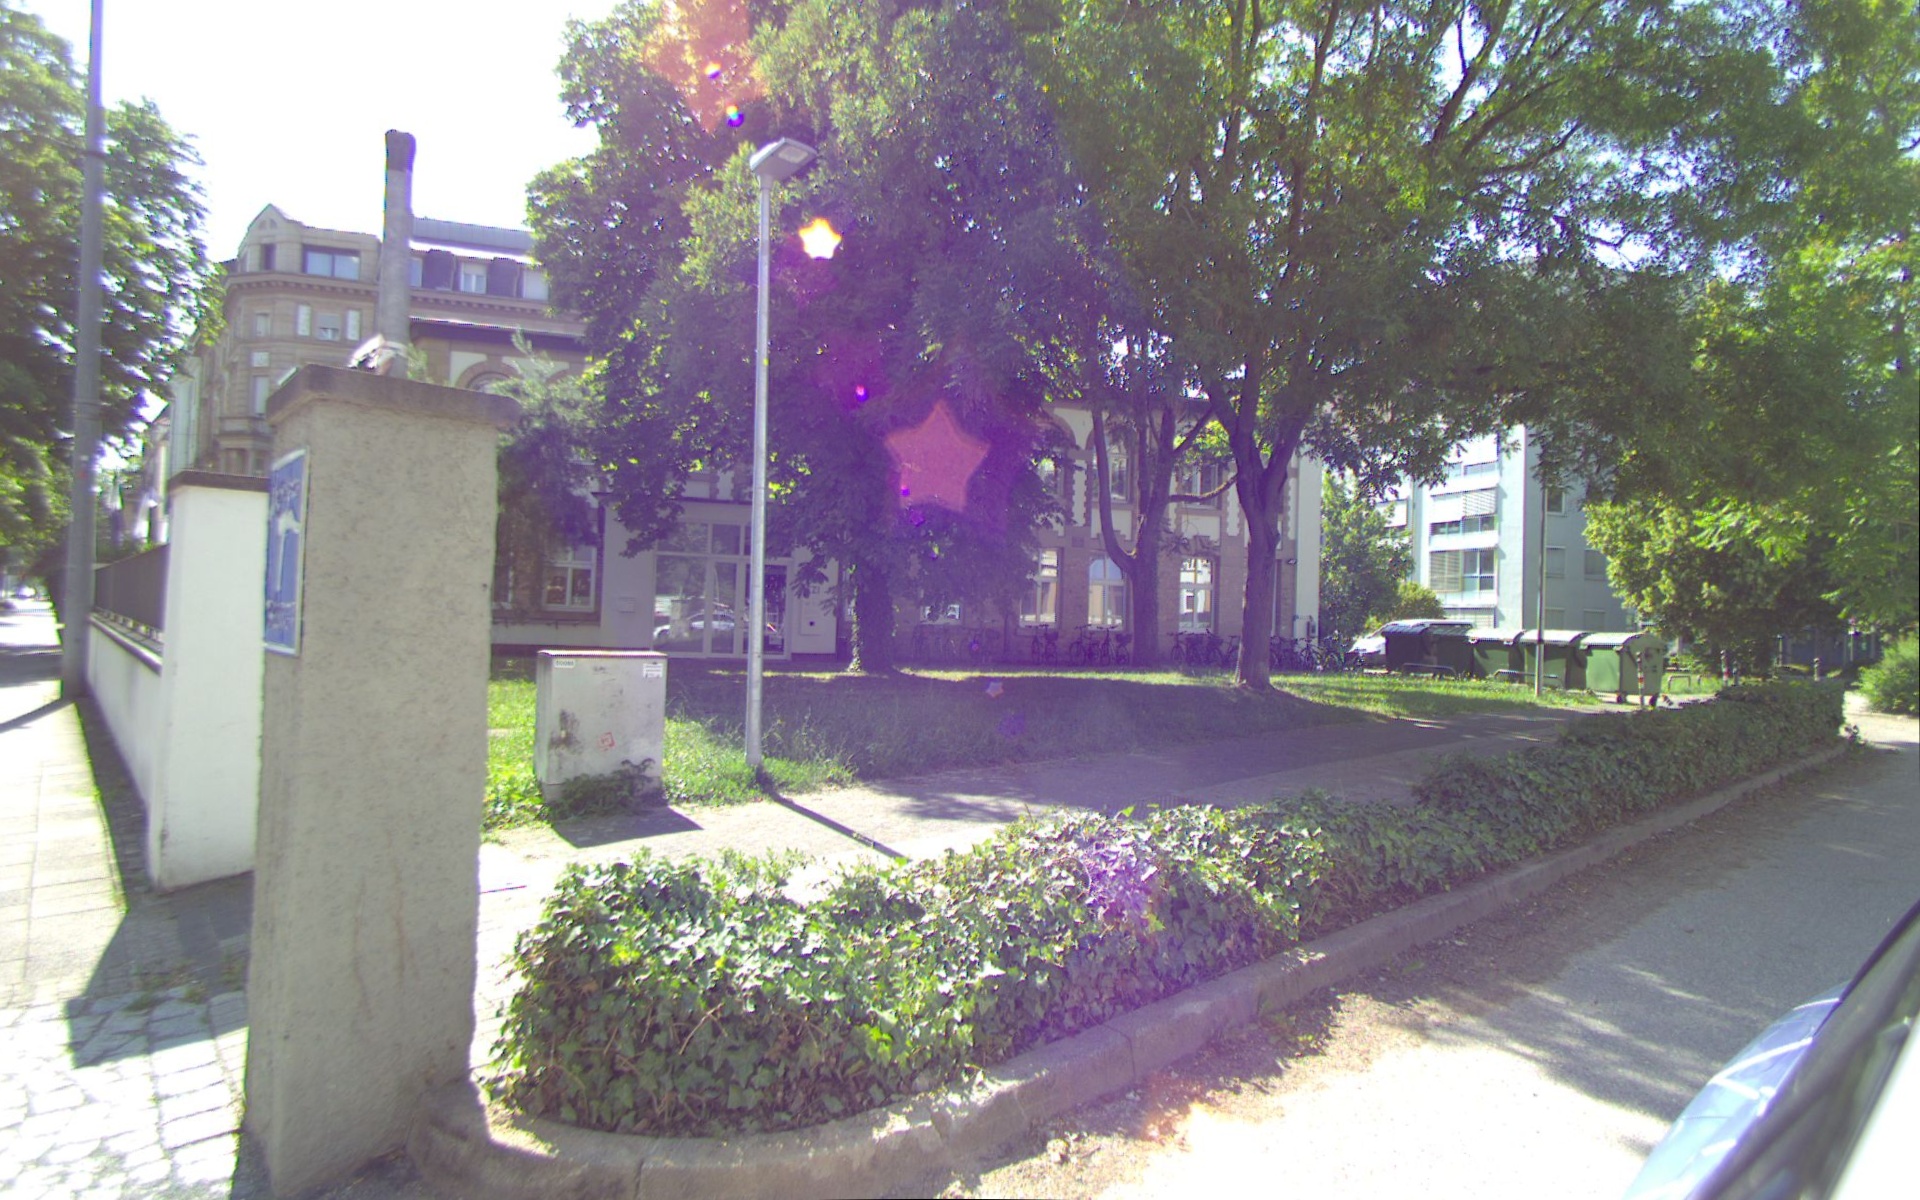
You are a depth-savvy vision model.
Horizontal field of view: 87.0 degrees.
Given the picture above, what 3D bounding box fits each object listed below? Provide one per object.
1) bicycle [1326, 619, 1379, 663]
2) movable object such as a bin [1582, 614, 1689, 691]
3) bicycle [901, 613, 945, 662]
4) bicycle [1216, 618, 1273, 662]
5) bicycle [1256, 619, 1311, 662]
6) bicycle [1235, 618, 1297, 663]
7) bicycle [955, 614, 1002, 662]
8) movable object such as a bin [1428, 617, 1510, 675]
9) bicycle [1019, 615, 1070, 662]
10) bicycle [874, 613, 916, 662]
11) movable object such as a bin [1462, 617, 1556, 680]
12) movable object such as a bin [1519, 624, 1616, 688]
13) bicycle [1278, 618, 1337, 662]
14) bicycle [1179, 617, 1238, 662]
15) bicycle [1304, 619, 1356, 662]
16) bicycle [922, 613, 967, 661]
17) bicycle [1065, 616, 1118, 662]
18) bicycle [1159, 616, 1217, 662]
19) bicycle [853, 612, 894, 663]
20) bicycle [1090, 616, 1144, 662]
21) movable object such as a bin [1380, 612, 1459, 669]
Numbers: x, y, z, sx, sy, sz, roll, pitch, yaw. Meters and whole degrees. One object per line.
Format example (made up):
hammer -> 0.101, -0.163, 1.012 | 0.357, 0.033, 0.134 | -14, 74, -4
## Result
bicycle -> 11.213, 1.145, 28.947 | 0.546, 1.176, 1.947 | 1, -1, -7
movable object such as a bin -> 13.776, 1.053, 20.694 | 1.191, 1.481, 1.393 | 1, -1, -5
bicycle -> -0.969, 0.934, 25.805 | 0.575, 1.176, 2.107 | 1, -1, -17
bicycle -> 7.919, 1.094, 28.264 | 0.575, 1.176, 1.925 | 1, -1, -17
bicycle -> 9.142, 1.129, 28.687 | 0.484, 1.176, 1.918 | 1, -1, -17
bicycle -> 8.599, 1.118, 28.544 | 0.575, 1.176, 2.107 | 1, -1, -17
bicycle -> 0.470, 0.964, 26.304 | 0.575, 1.176, 2.107 | 1, -1, -17
movable object such as a bin -> 12.586, 1.121, 25.053 | 1.190, 1.366, 1.355 | 1, -1, -20
bicycle -> 2.206, 0.995, 26.742 | 0.575, 1.176, 2.107 | 1, -1, -17
bicycle -> -1.665, 0.923, 25.598 | 0.575, 1.176, 2.107 | 1, -1, -17
movable object such as a bin -> 12.734, 1.109, 23.515 | 1.190, 1.379, 1.505 | 1, -1, -20
movable object such as a bin -> 13.246, 1.208, 22.091 | 1.190, 1.317, 1.358 | 1, -1, -20
bicycle -> 9.935, 1.131, 28.981 | 0.600, 1.176, 1.855 | 1, -1, -17
bicycle -> 6.862, 1.080, 28.057 | 0.575, 1.176, 2.107 | 1, -1, -17
bicycle -> 10.586, 1.143, 29.016 | 0.496, 1.176, 1.808 | 1, -1, -12
bicycle -> -0.422, 0.936, 26.101 | 0.575, 1.176, 2.107 | 1, -1, -17
bicycle -> 3.494, 1.024, 27.091 | 0.575, 1.176, 2.107 | 1, -1, -17
bicycle -> 6.251, 1.056, 27.814 | 0.575, 1.176, 2.107 | 1, -1, -17
bicycle -> -2.151, 0.899, 24.989 | 0.575, 1.176, 2.107 | 1, -1, -17
bicycle -> 4.210, 1.034, 27.345 | 0.575, 1.176, 2.107 | 1, -1, -17
movable object such as a bin -> 12.030, 1.056, 26.530 | 1.224, 1.427, 1.439 | 2, -1, -21
